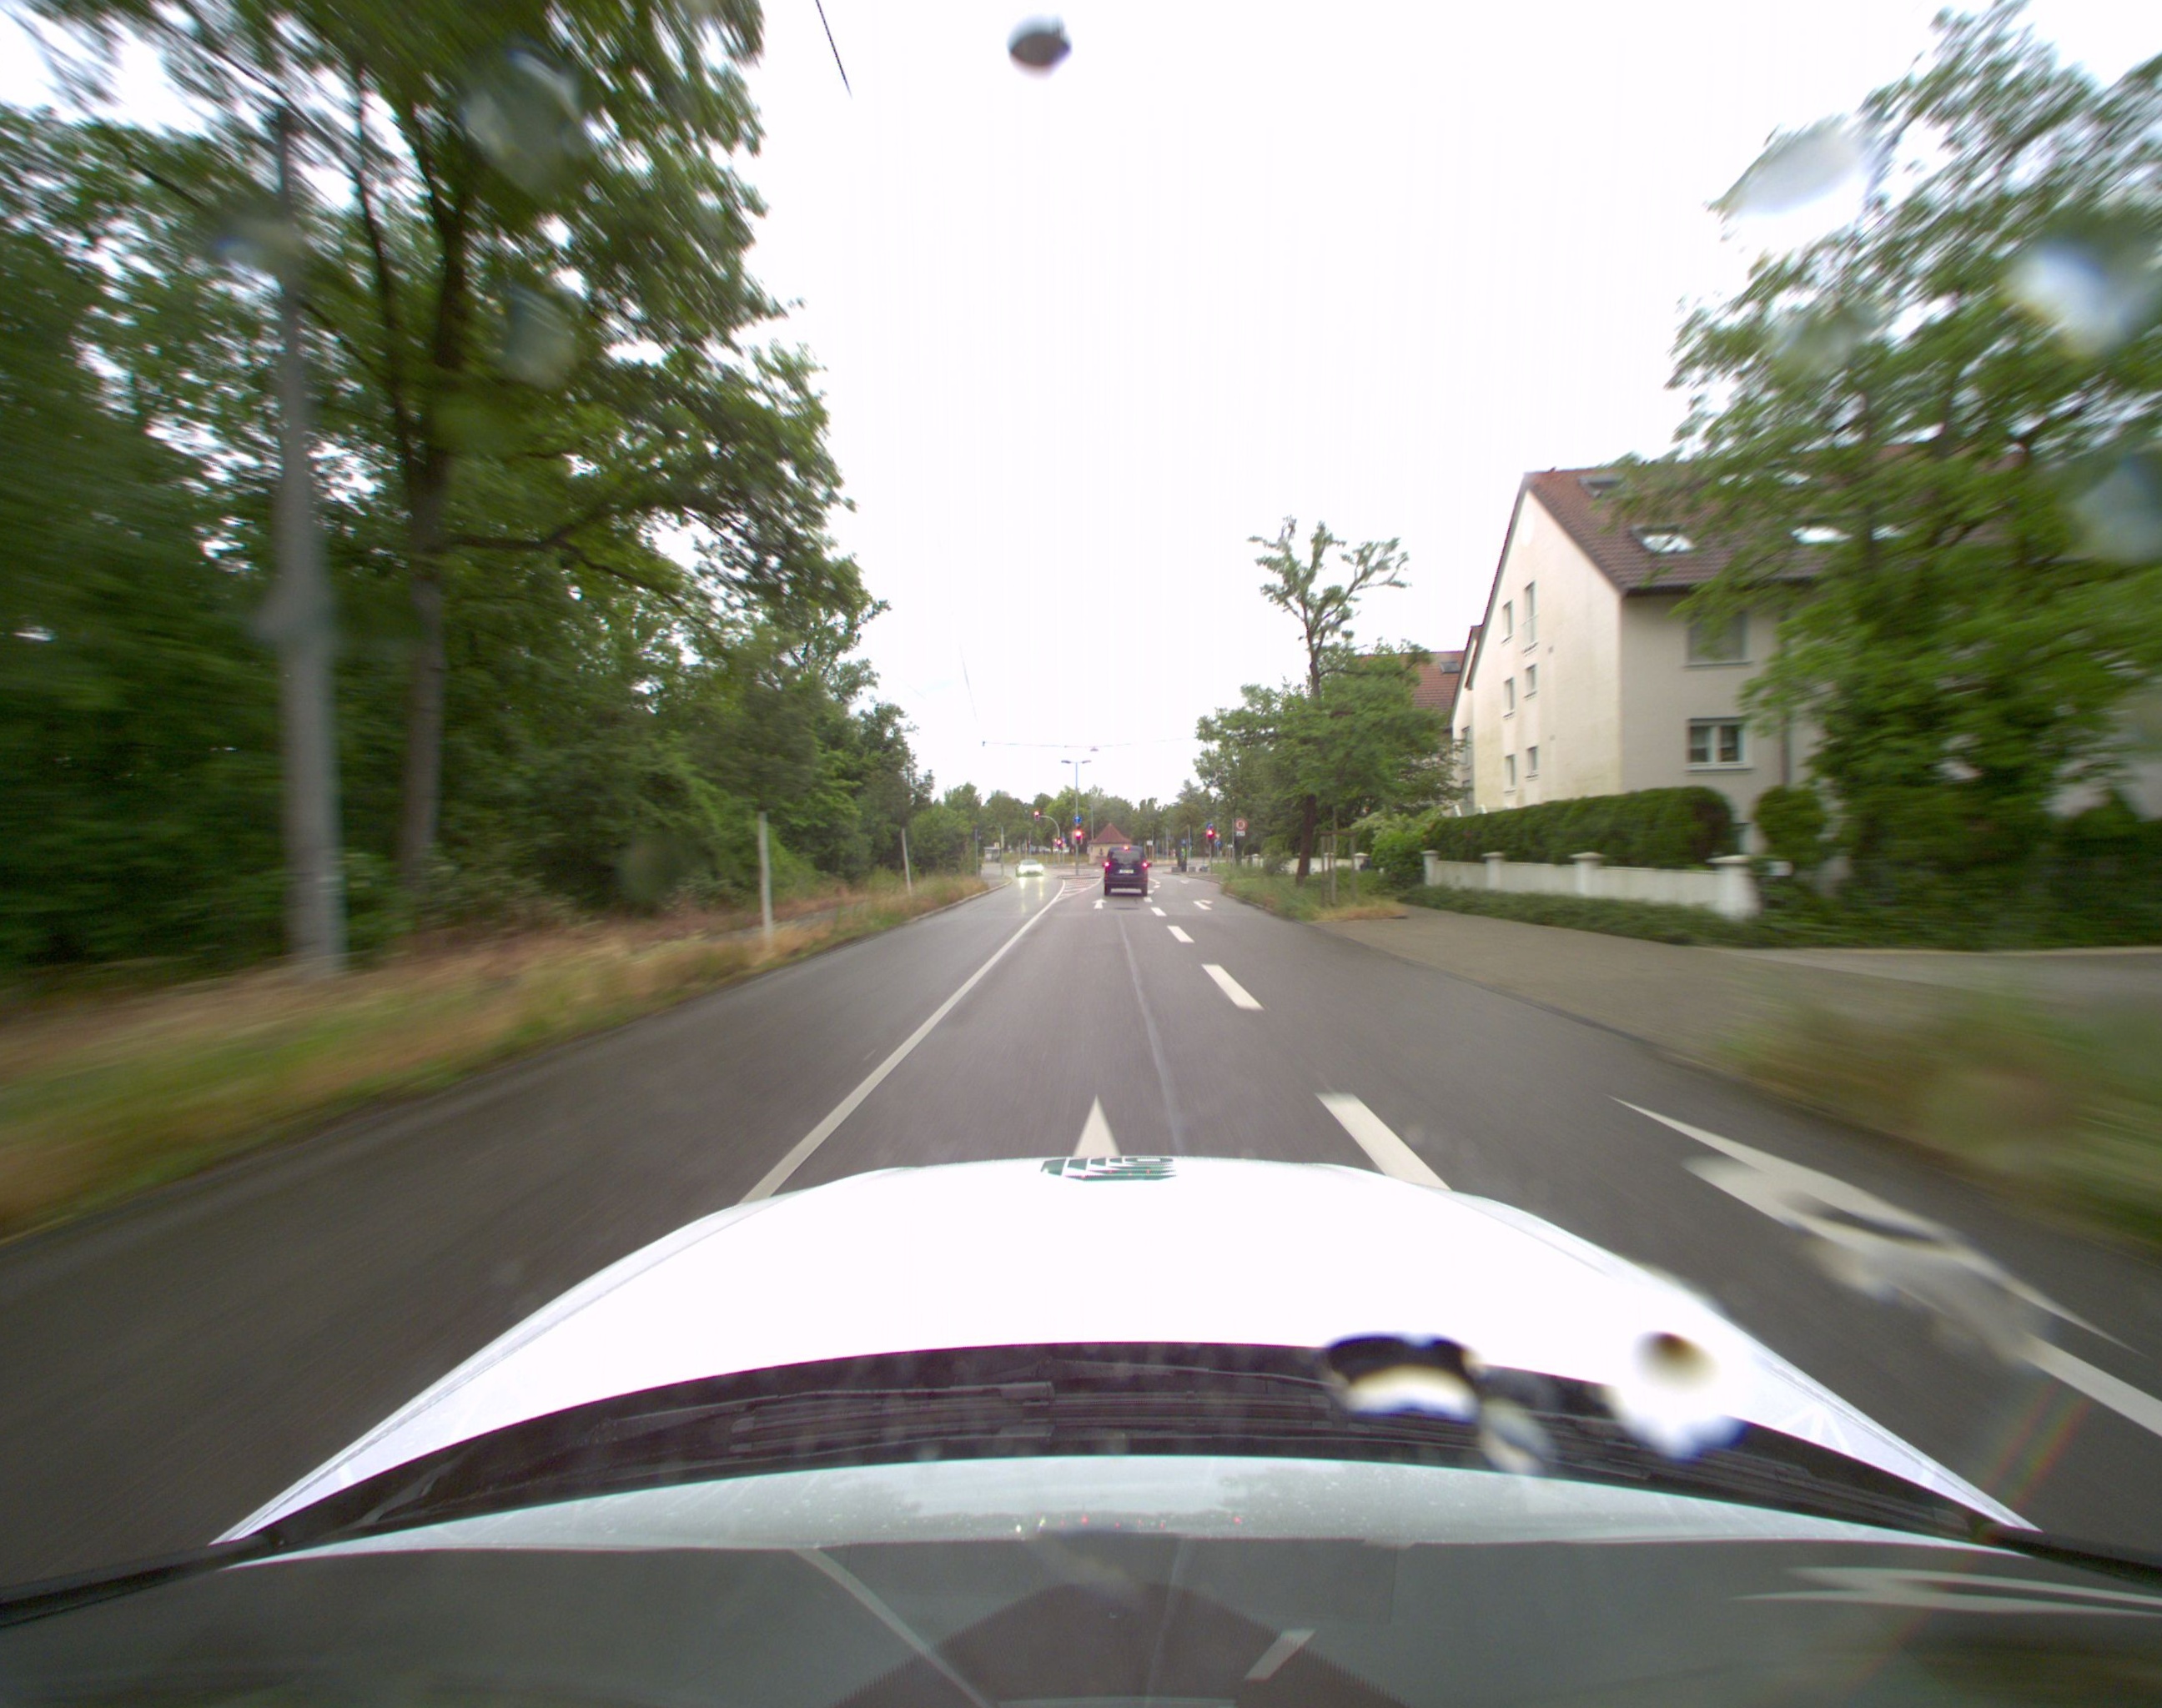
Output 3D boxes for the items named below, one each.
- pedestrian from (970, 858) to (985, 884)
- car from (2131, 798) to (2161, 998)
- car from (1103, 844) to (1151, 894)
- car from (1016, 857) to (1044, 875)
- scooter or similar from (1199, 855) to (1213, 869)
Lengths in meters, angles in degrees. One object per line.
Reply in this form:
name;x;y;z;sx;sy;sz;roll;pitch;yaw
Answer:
pedestrian;-8.091;1.335;63.887;1.085;2.014;0.999;0;-1;-2
car;11.815;0.404;6.343;4.276;1.817;1.880;0;0;12
car;1.708;0.531;31.349;1.725;1.786;4.001;0;0;1
car;-4.319;0.980;68.353;1.992;1.311;4.349;-3;0;-7
scooter or similar;11.052;0.731;71.945;1.144;1.219;0.406;-1;-2;2
